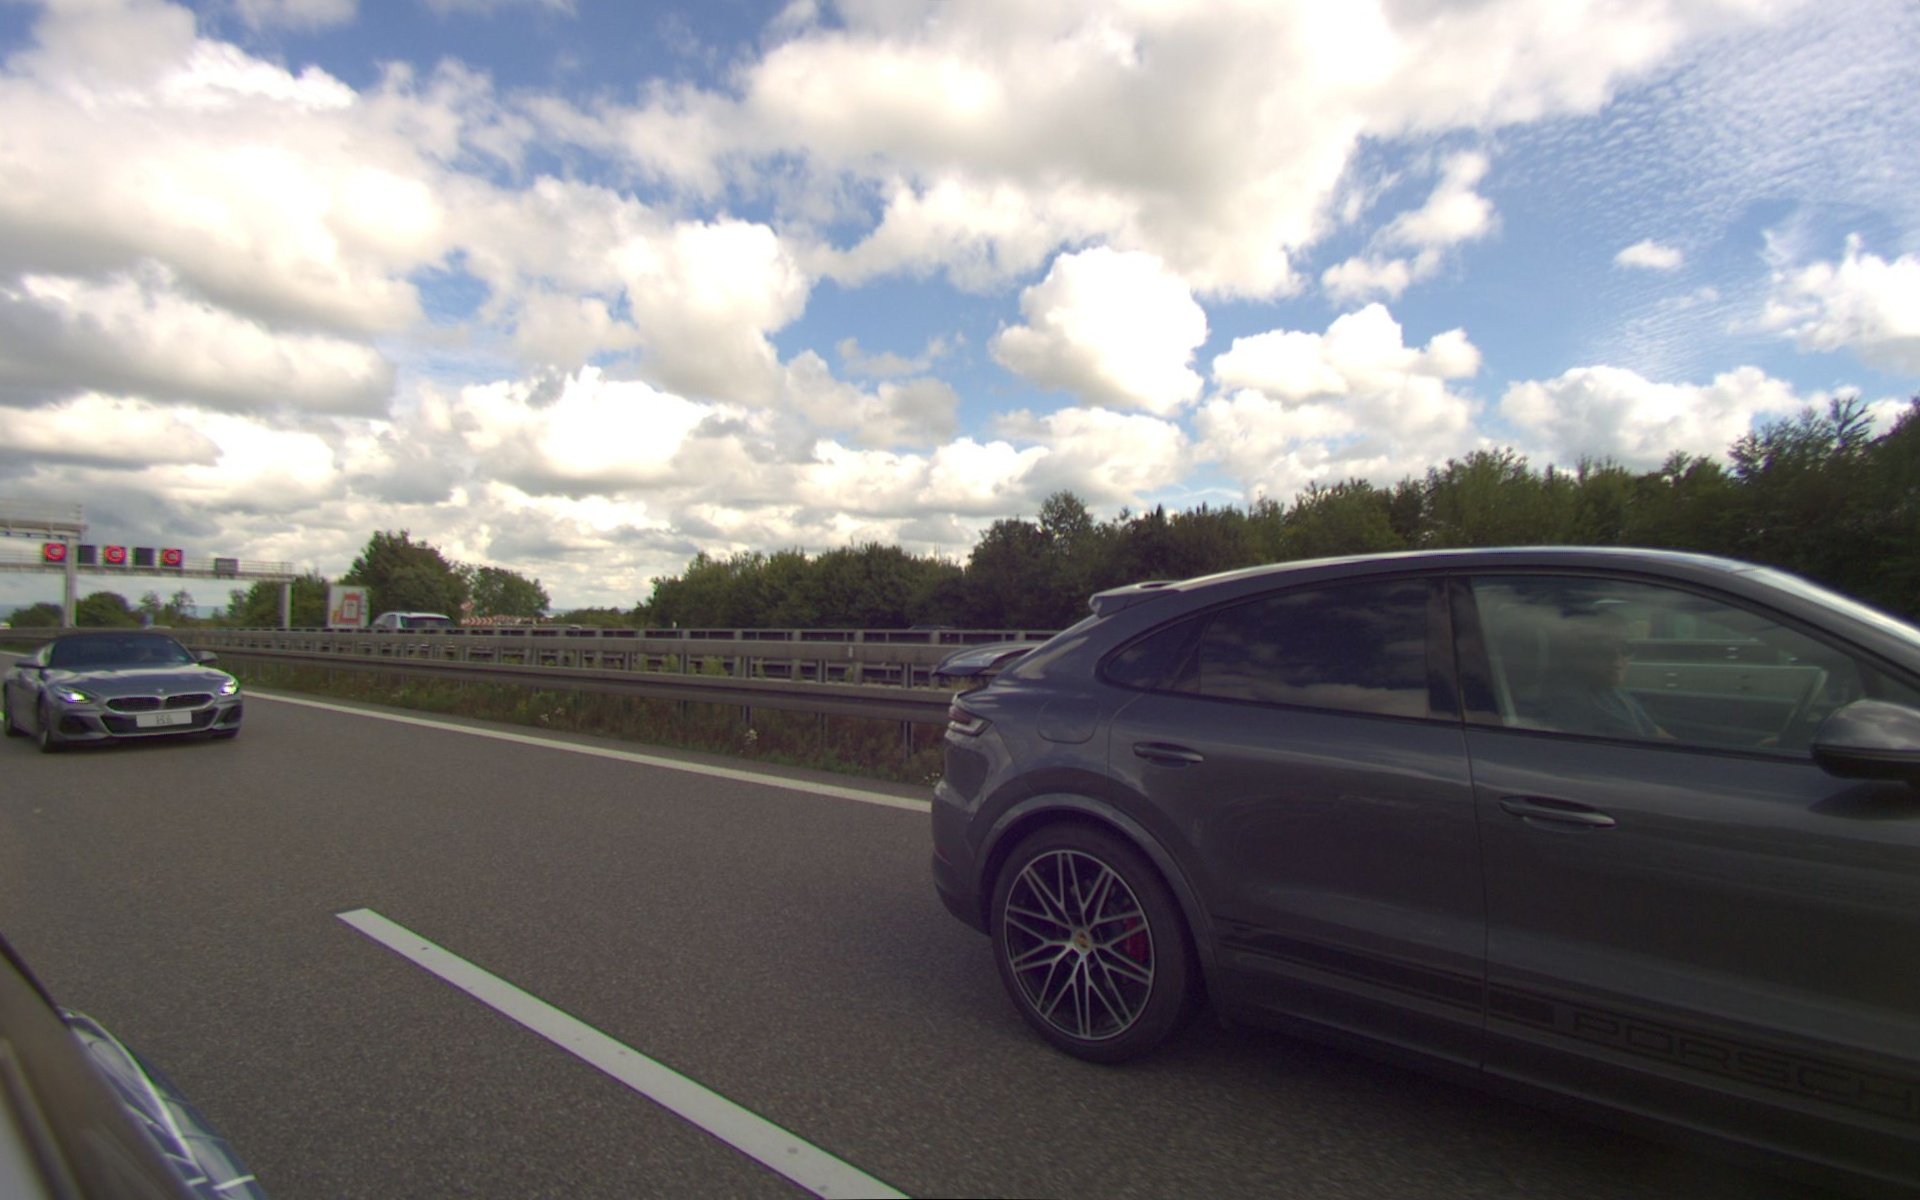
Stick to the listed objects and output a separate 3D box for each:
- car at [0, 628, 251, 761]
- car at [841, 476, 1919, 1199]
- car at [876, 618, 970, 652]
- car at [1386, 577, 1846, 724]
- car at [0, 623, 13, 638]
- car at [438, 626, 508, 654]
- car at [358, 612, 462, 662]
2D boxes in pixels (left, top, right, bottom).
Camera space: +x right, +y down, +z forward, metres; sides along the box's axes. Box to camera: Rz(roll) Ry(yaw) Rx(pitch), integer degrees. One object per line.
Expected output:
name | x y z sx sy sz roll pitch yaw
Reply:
car | -10.764 1.037 12.763 4.939 1.312 1.854 -1 -1 41
car | 2.220 0.597 2.871 5.497 1.648 1.892 -1 -1 41
car | -1.943 1.775 51.531 5.008 1.648 1.791 -1 -2 43
car | 8.668 0.610 13.743 5.008 1.648 1.791 -1 -1 43
car | -154.114 4.870 162.840 4.574 2.301 1.978 -1 -1 40
car | -22.873 1.842 47.482 3.873 1.229 1.509 -1 -1 40
car | -17.755 1.155 32.600 4.200 1.491 1.716 -1 -1 43
